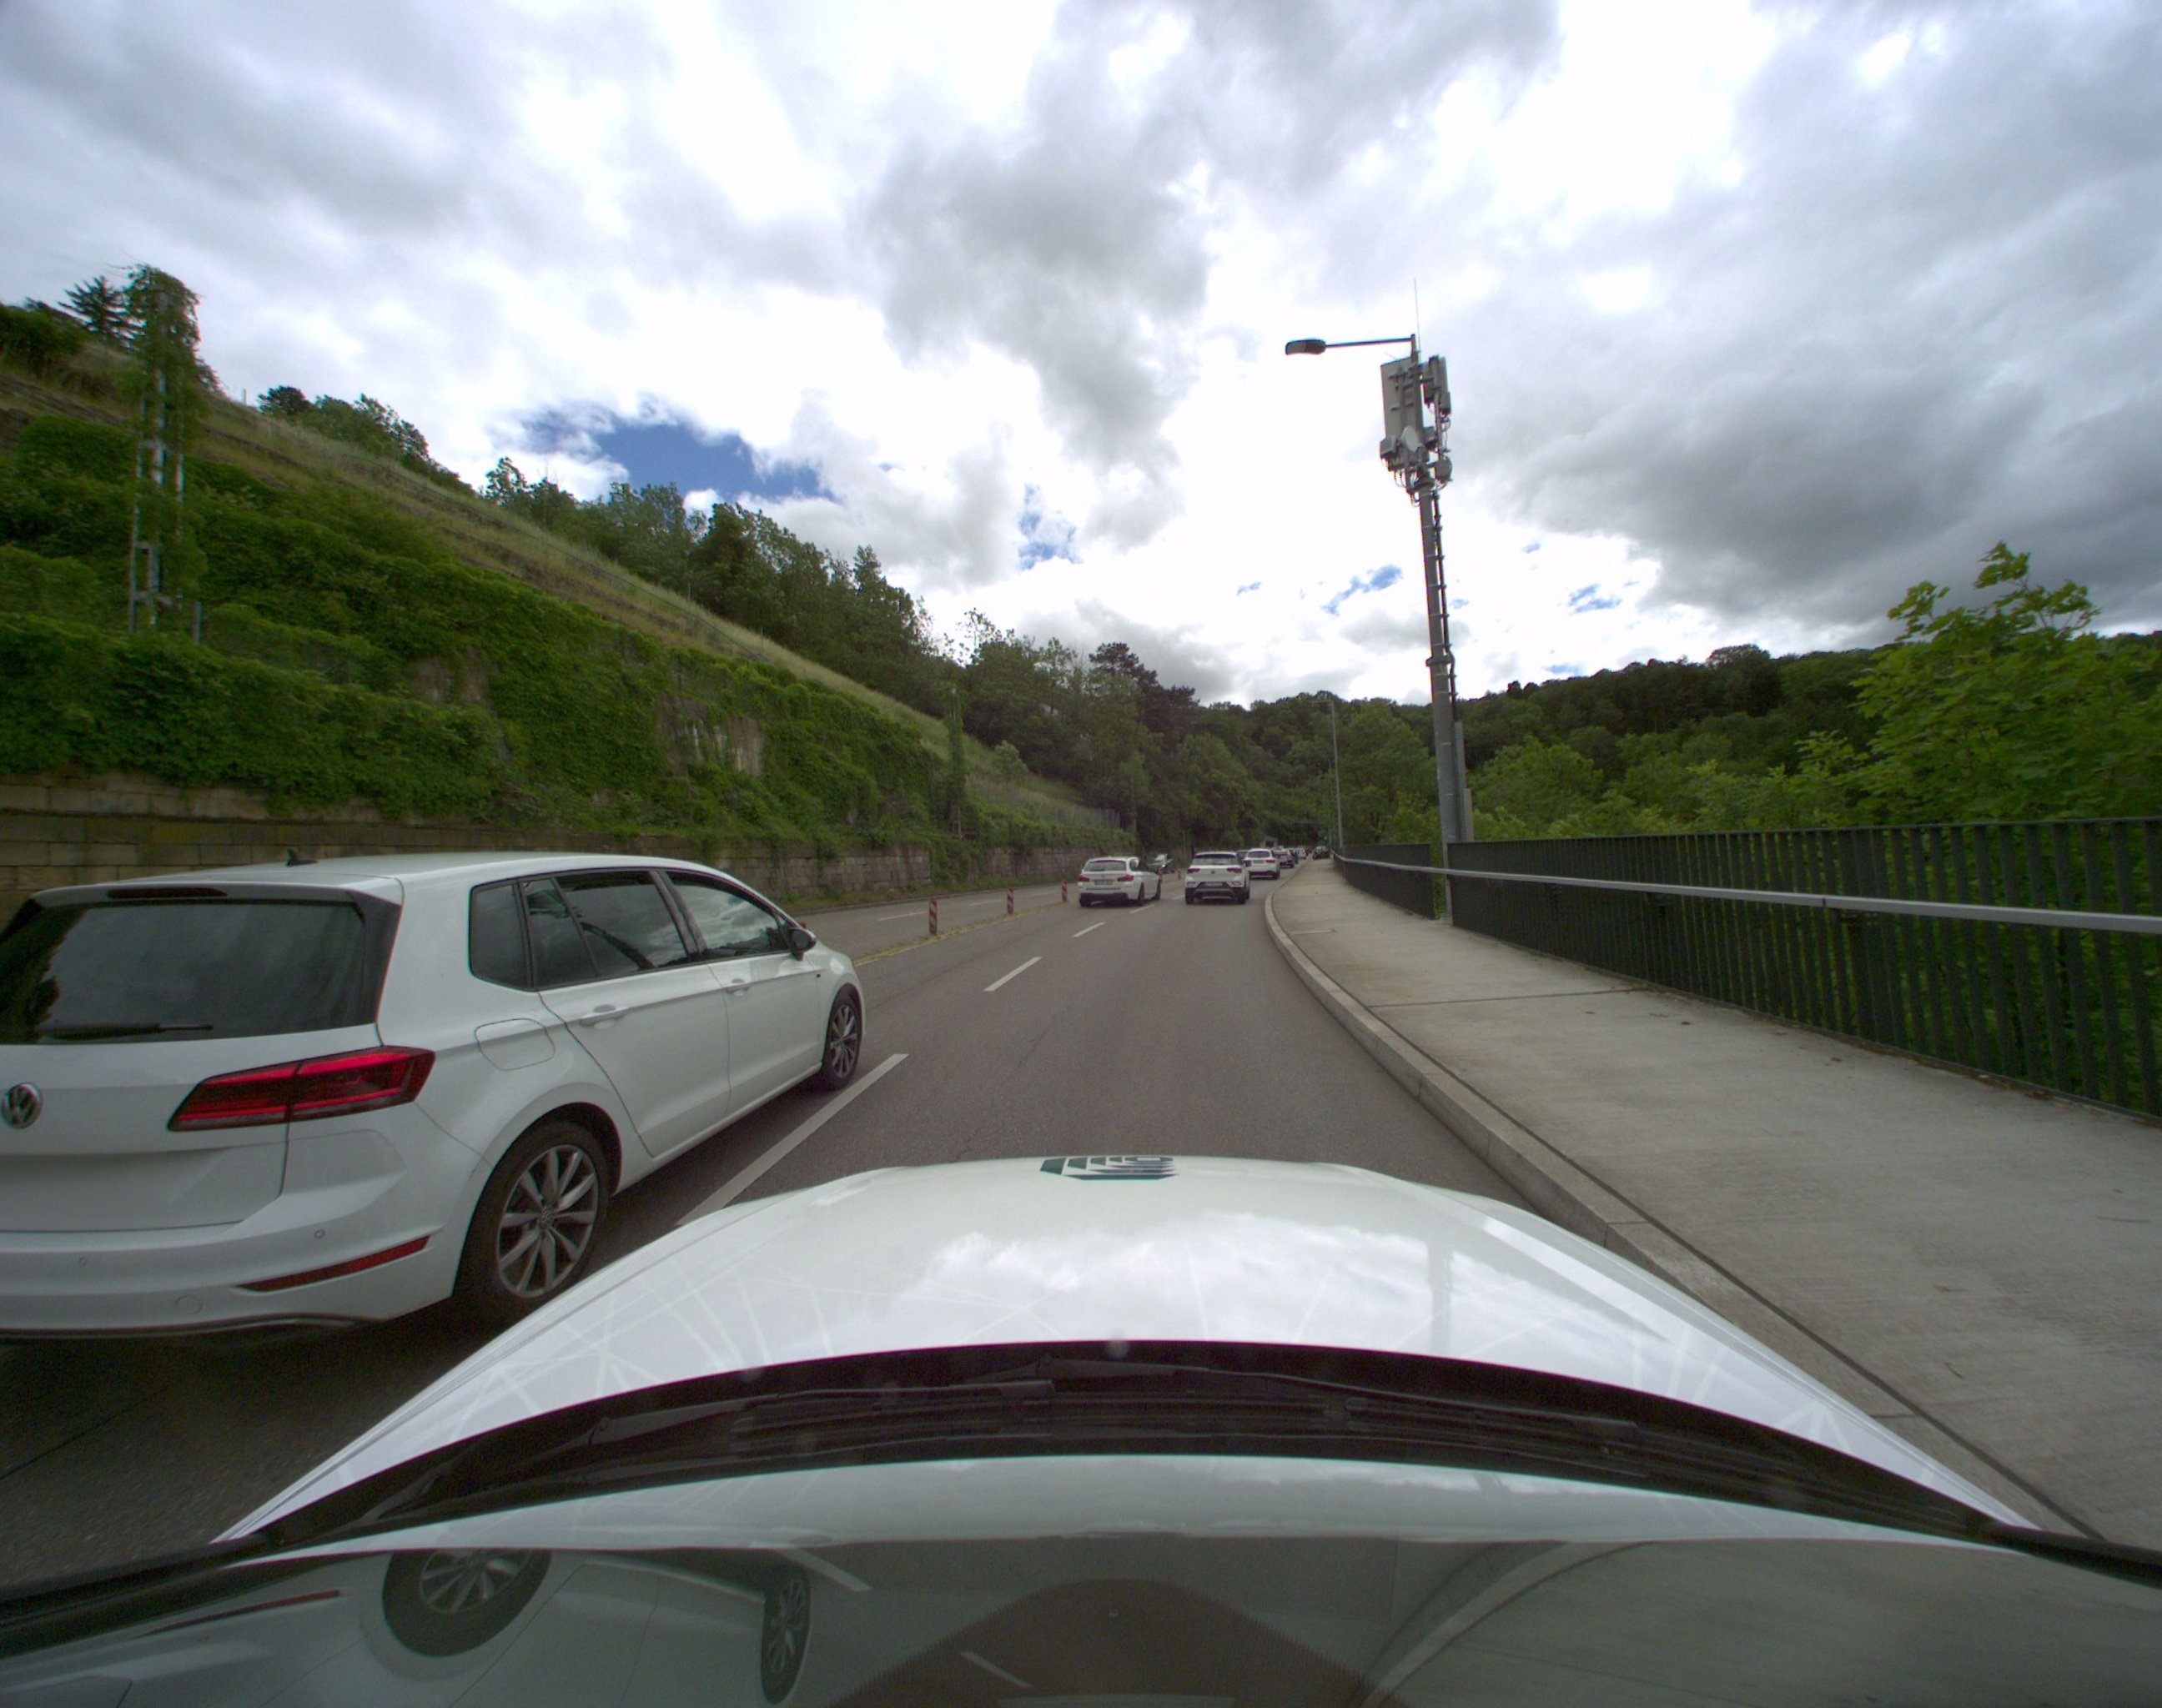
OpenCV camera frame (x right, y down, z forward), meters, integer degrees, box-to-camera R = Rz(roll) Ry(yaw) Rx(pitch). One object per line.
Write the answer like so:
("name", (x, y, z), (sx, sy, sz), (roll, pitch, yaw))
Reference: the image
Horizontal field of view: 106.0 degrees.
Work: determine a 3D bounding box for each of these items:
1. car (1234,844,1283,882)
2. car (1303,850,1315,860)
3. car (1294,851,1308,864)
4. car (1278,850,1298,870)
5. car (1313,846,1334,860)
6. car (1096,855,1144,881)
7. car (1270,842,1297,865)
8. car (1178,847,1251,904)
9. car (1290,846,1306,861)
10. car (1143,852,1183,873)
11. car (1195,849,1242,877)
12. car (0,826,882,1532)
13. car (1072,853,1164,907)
("car", (9.736, 0.442, 44.356), (1.978, 1.718, 4.133), (-8, -2, 18))
("car", (44.425, 0.177, 158.549), (1.978, 2.014, 4.018), (-1, 0, 17))
("car", (35.610, 0.531, 131.582), (1.978, 2.014, 4.018), (-1, 0, 17))
("car", (19.751, 0.544, 77.489), (1.731, 1.781, 3.549), (-1, 0, 15))
("car", (27.152, -0.150, 91.232), (1.803, 1.508, 4.012), (-1, 0, 11))
("car", (2.395, 0.785, 48.651), (1.692, 1.442, 4.020), (-1, 0, 20))
("car", (15.941, -0.035, 64.070), (1.979, 1.717, 4.016), (-1, 0, 15))
("car", (4.225, 0.606, 25.250), (1.814, 1.605, 4.016), (-2, 0, 15))
("car", (28.341, -0.036, 106.432), (1.979, 1.860, 4.016), (-1, 0, 15))
("car", (6.387, 0.633, 63.153), (1.834, 1.515, 4.357), (-1, 0, 23))
("car", (8.191, 0.499, 48.111), (1.977, 1.503, 4.690), (-1, 0, 19))
("car", (-2.557, 0.747, 4.048), (1.813, 1.580, 4.360), (0, 0, 3))
("car", (1.247, 0.730, 25.074), (1.814, 1.459, 4.504), (-3, 0, 16))
